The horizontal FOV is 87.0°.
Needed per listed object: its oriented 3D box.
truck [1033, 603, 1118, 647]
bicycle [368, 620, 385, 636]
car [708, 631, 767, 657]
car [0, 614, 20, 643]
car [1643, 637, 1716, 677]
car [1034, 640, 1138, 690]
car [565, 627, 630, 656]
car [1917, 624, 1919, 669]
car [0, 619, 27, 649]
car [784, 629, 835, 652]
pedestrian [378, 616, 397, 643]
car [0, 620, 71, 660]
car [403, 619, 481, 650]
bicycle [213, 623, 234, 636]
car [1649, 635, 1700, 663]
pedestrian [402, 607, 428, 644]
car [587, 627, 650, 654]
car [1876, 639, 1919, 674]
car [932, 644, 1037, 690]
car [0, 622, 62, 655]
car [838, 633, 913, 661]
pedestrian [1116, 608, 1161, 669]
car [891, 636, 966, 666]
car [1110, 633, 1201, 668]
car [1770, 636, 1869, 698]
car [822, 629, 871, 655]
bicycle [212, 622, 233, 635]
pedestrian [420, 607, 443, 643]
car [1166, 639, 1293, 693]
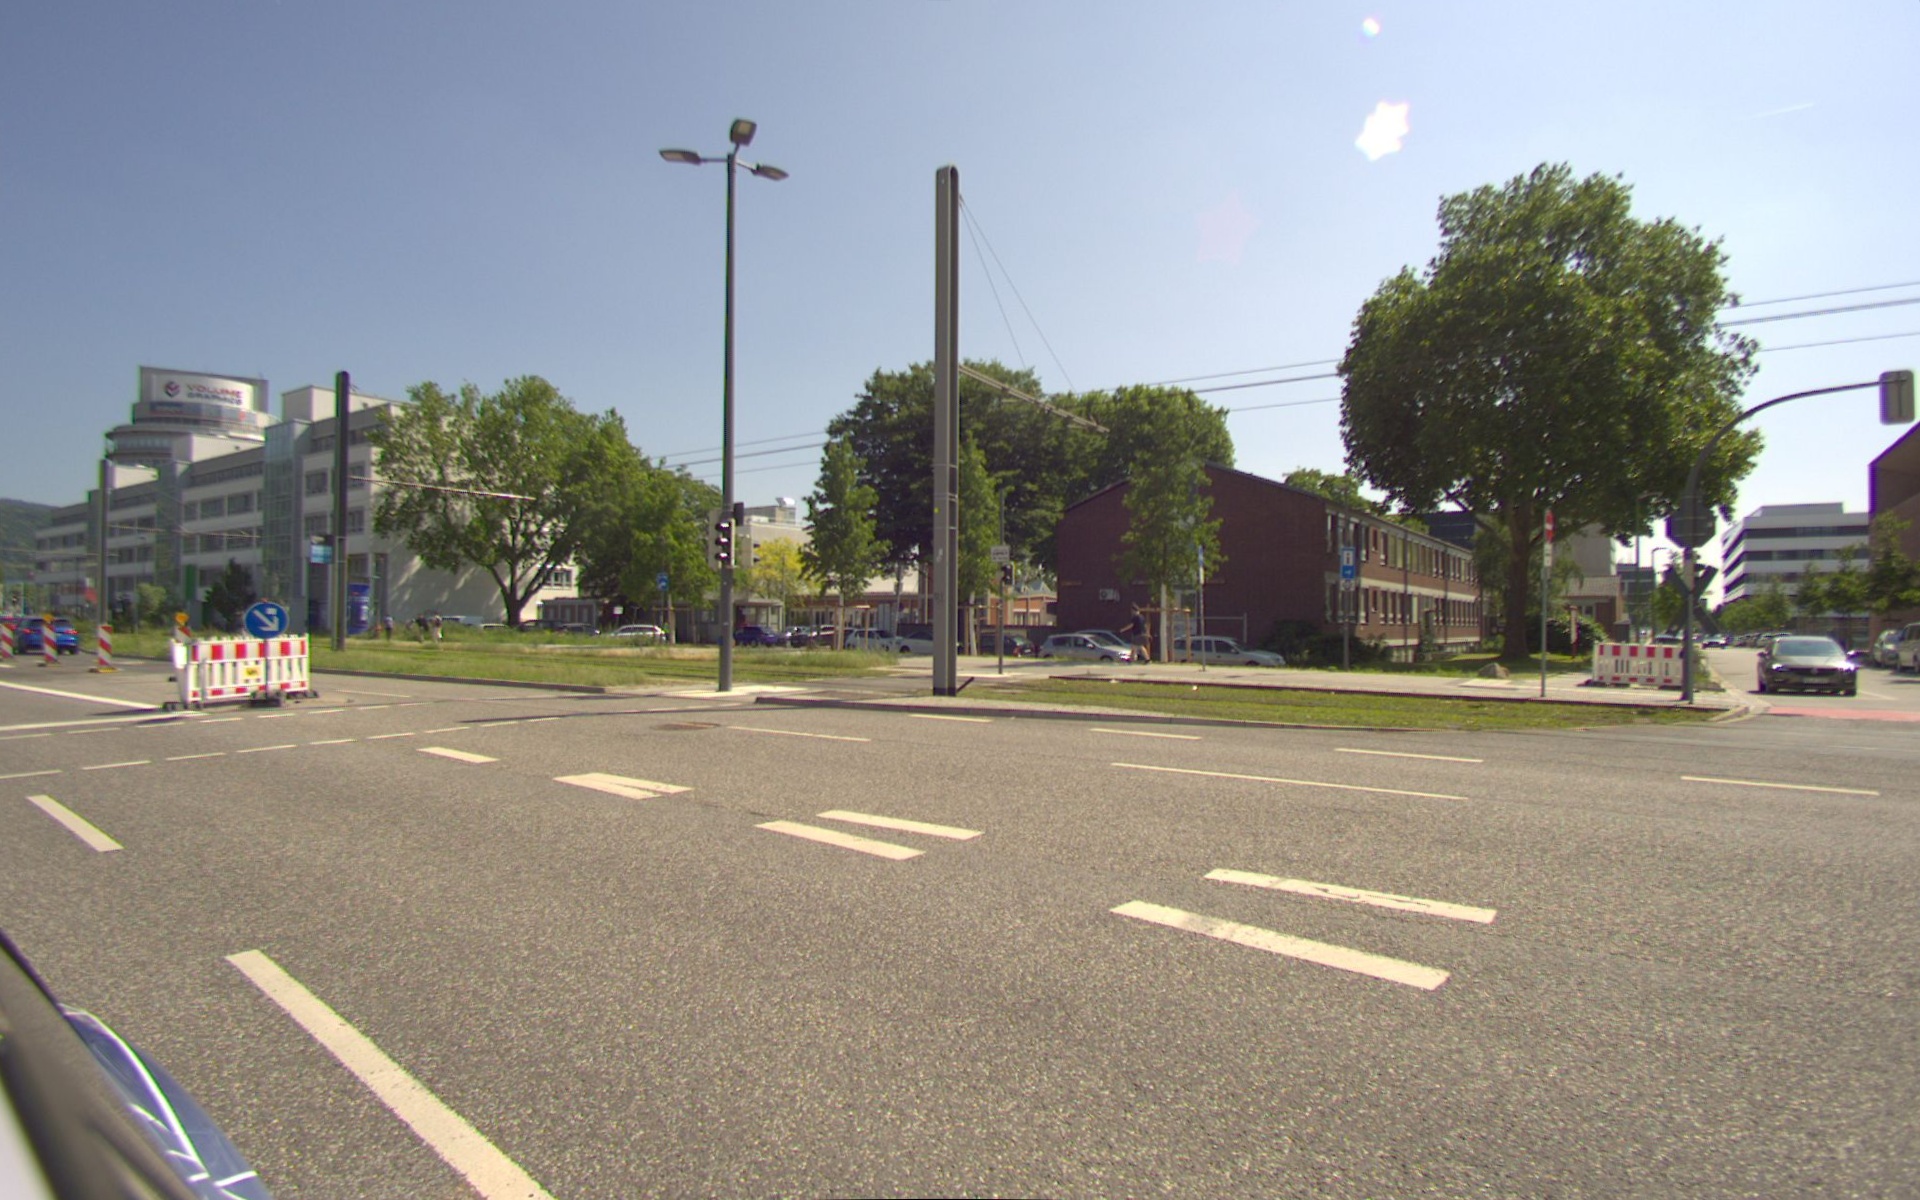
[{"bbox_3d":[11.927,2.415,102.884,2.883,4.113,12.493,-1,0,35],"label":"truck"},{"bbox_3d":[-37.709,1.807,65.364,1.556,0.993,0.455,-1,-1,40],"label":"bicycle"},{"bbox_3d":[-14.721,2.881,67.000,3.625,1.603,1.755,-1,0,32],"label":"car"},{"bbox_3d":[-52.560,1.527,55.080,3.618,1.542,1.564,0,-3,40],"label":"car"},{"bbox_3d":[28.892,2.235,40.587,1.999,1.413,3.945,0,0,41],"label":"car"},{"bbox_3d":[5.146,2.621,41.500,3.933,1.774,1.682,0,0,37],"label":"car"},{"bbox_3d":[-21.541,2.450,60.054,3.625,1.603,1.755,-1,0,32],"label":"car"},{"bbox_3d":[36.766,1.761,37.321,1.691,1.702,3.511,-1,-1,36],"label":"car"},{"bbox_3d":[-47.696,1.642,50.187,4.294,1.427,1.563,0,-2,41],"label":"car"},{"bbox_3d":[-10.295,2.755,69.041,3.338,1.464,1.524,-1,0,35],"label":"car"},{"bbox_3d":[-34.403,1.753,60.799,0.826,1.588,0.806,-1,-1,41],"label":"pedestrian"},{"bbox_3d":[-35.350,1.514,38.615,4.289,1.438,1.610,-1,-3,42],"label":"car"},{"bbox_3d":[-38.184,2.555,74.718,4.988,2.196,2.121,1,-1,-27],"label":"car"},{"bbox_3d":[-71.689,2.864,98.512,0.437,1.198,1.631,-1,0,36],"label":"bicycle"},{"bbox_3d":[41.139,2.773,58.238,1.999,1.413,3.945,0,0,41],"label":"car"},{"bbox_3d":[-30.391,1.426,56.442,0.909,2.029,0.973,-1,-1,39],"label":"pedestrian"},{"bbox_3d":[-21.149,2.477,62.646,3.625,1.603,1.755,-1,0,32],"label":"car"},{"bbox_3d":[40.117,2.361,42.690,1.708,1.331,3.467,0,0,35],"label":"car"},{"bbox_3d":[1.045,2.918,44.856,4.523,1.774,1.682,0,0,37],"label":"car"},{"bbox_3d":[-42.152,1.728,45.809,3.995,1.427,1.564,0,-2,39],"label":"car"},{"bbox_3d":[-4.791,2.613,56.866,4.259,1.468,1.524,-1,-1,37],"label":"car"},{"bbox_3d":[5.555,1.189,31.517,1.107,1.861,0.803,-1,-2,42],"label":"pedestrian"},{"bbox_3d":[-1.687,2.648,53.238,3.775,1.468,1.526,0,-1,33],"label":"car"},{"bbox_3d":[8.820,2.259,45.867,3.780,1.468,1.524,-1,-1,37],"label":"car"},{"bbox_3d":[21.759,1.641,25.729,1.570,1.380,3.448,-1,-1,35],"label":"car"},{"bbox_3d":[-6.895,2.525,61.632,1.531,1.468,3.728,-1,-1,19],"label":"car"},{"bbox_3d":[-73.093,2.851,100.354,0.438,1.198,1.629,-1,0,42],"label":"bicycle"},{"bbox_3d":[-29.833,1.417,57.147,0.982,2.029,0.831,-1,-1,39],"label":"pedestrian"},{"bbox_3d":[10.097,2.420,38.042,4.293,1.774,1.682,0,0,37],"label":"car"}]
